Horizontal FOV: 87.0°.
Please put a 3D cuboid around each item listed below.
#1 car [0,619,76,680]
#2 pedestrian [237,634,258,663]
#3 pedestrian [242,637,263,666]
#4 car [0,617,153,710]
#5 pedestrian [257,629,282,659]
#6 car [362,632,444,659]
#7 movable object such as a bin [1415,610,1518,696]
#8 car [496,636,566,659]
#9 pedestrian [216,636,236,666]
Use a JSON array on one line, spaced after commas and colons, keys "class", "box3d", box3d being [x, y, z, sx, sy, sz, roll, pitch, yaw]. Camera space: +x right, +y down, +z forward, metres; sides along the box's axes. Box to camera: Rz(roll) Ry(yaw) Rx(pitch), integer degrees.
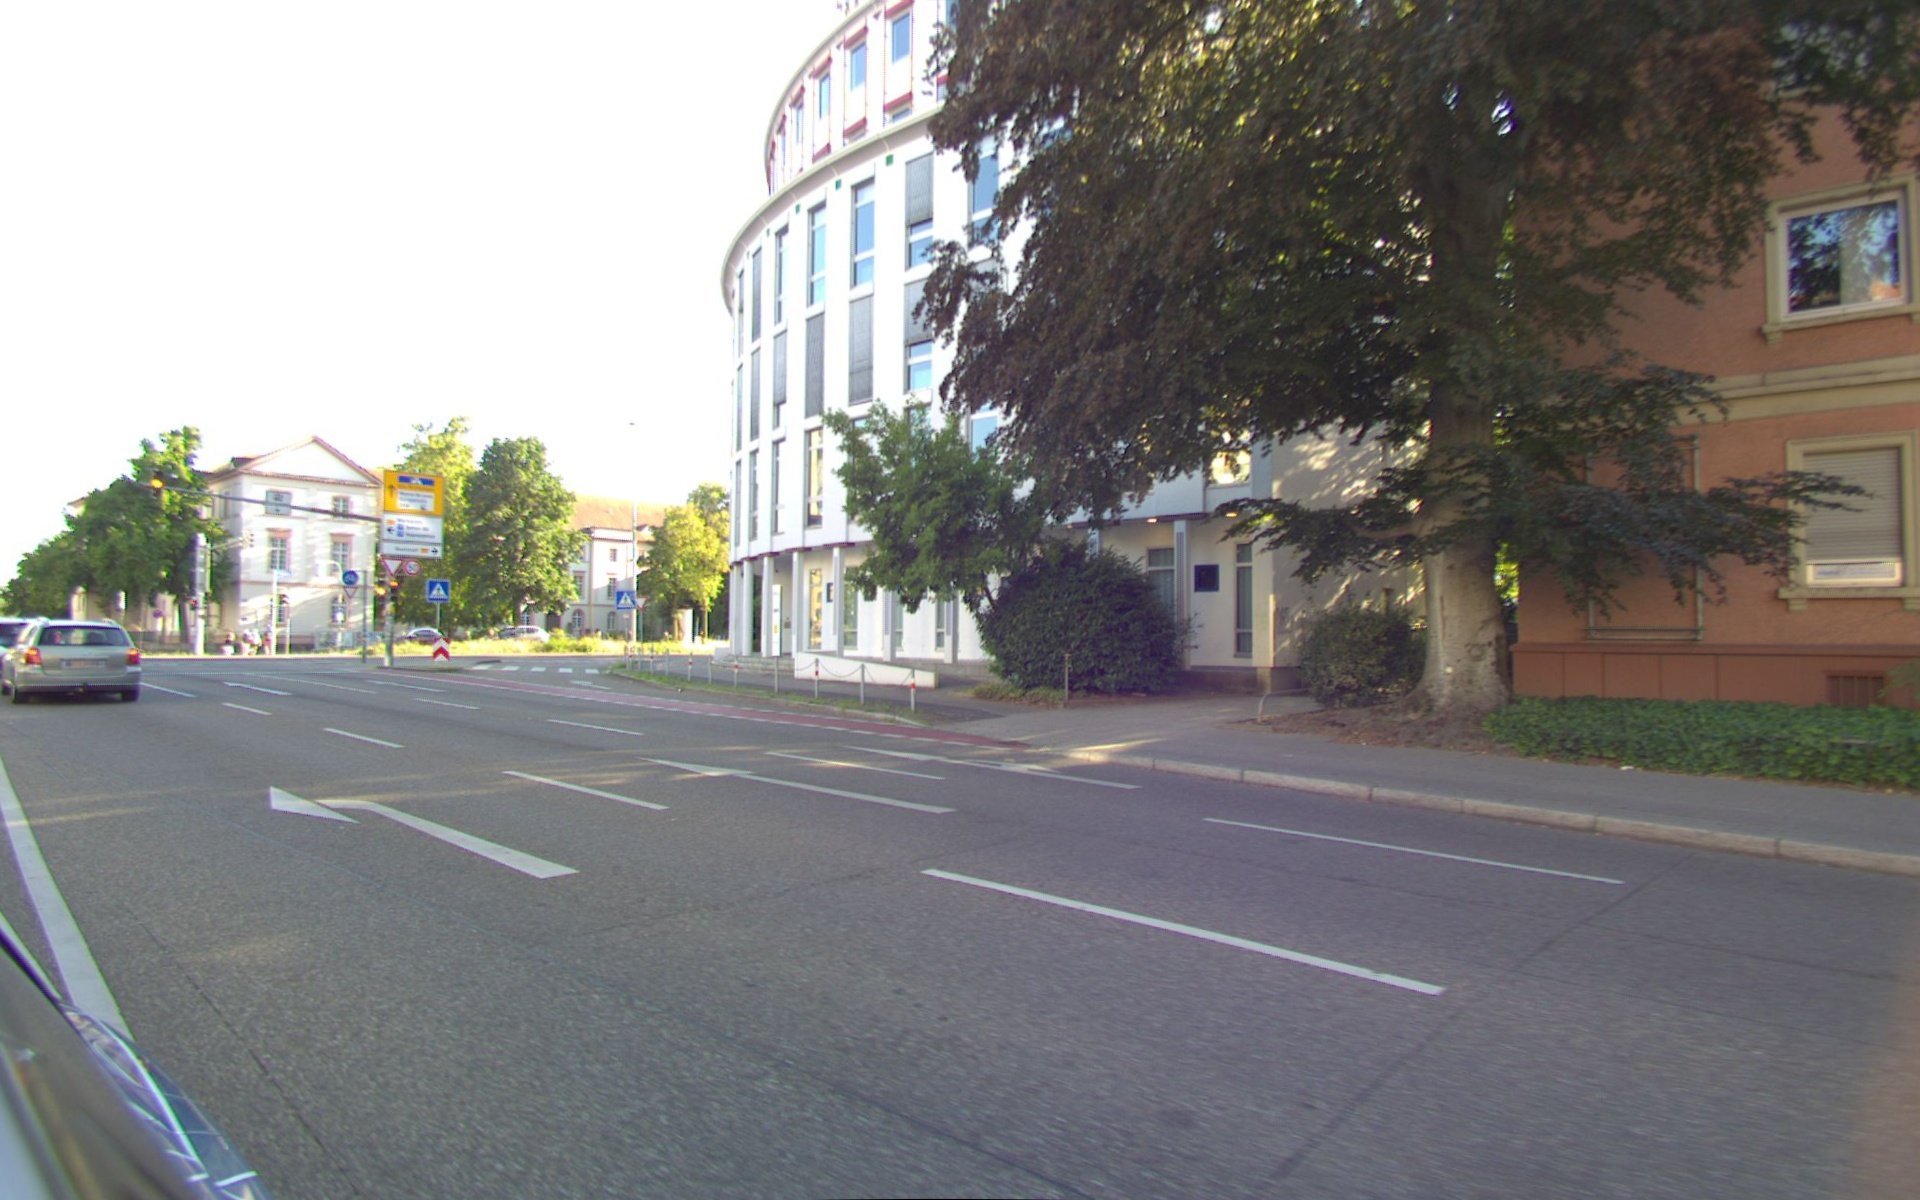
[{"class": "car", "box3d": [-24.255, 1.264, 25.939, 3.899, 1.472, 1.809, -2, -3, 40]}, {"class": "pedestrian", "box3d": [-43.452, 2.948, 61.706, 1.081, 1.721, 0.671, -2, -3, 32]}, {"class": "pedestrian", "box3d": [-41.064, 2.993, 58.728, 0.880, 1.663, 0.671, -2, -3, 32]}, {"class": "car", "box3d": [-16.636, 1.133, 18.877, 4.604, 1.526, 1.807, -2, -3, 43]}, {"class": "pedestrian", "box3d": [-42.726, 2.709, 62.609, 1.166, 1.863, 0.812, -2, -3, 32]}, {"class": "car", "box3d": [-31.759, 2.600, 57.736, 1.996, 1.457, 3.602, -2, -3, 36]}, {"class": "movable object such as a bin", "box3d": [10.229, 1.058, 20.438, 1.457, 1.664, 1.486, -2, -3, 44]}, {"class": "car", "box3d": [-27.356, 3.016, 64.572, 1.996, 1.457, 3.602, -2, -3, 36]}, {"class": "pedestrian", "box3d": [-41.725, 2.884, 57.537, 0.887, 1.663, 0.614, -2, -3, 32]}]
